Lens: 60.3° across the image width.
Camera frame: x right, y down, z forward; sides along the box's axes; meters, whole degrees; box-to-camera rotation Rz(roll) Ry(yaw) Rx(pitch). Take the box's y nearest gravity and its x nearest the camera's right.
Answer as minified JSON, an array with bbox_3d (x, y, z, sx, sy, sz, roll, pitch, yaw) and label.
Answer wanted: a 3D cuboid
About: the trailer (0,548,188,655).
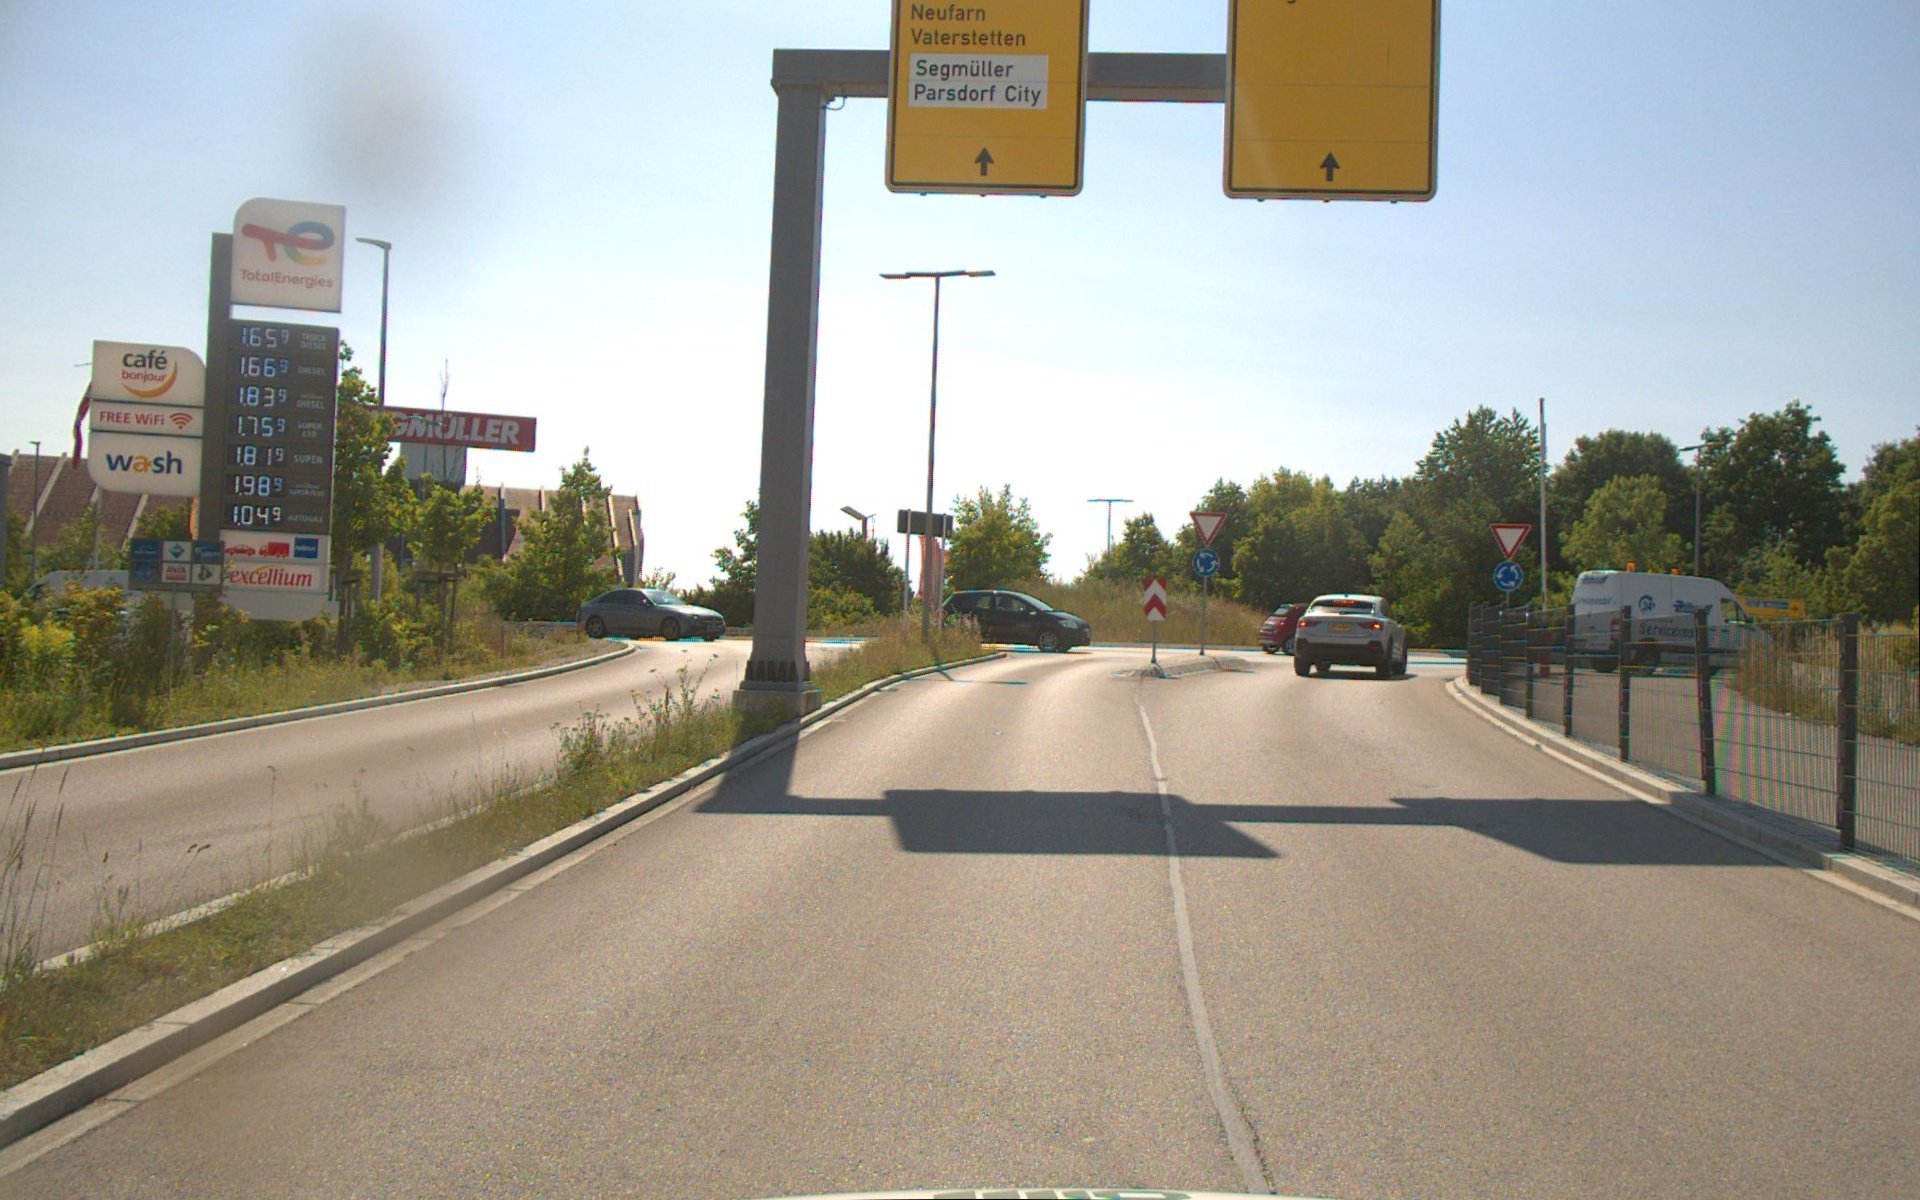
[{"bbox_3d":[-16.289,0.027,30.383,3.646,1.803,1.789,3,-1,-30],"label":"trailer"}]

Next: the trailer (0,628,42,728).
[{"bbox_3d":[-12.166,0.855,18.974,2.733,1.105,1.310,3,-1,-26],"label":"trailer"}]

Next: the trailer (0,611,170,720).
[{"bbox_3d":[-12.467,0.865,22.409,2.851,1.345,1.386,3,-1,-12],"label":"trailer"}]

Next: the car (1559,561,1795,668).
[{"bbox_3d":[19.549,0.404,45.110,6.080,2.599,2.079,3,-1,-20],"label":"car"}]

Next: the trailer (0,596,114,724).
[{"bbox_3d":[-12.490,0.702,20.642,3.130,1.509,1.541,3,-1,-17],"label":"trailer"}]

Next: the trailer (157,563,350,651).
[{"bbox_3d":[-15.185,0.147,35.565,3.646,1.803,1.789,1,0,-30],"label":"trailer"}]

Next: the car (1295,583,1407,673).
[{"bbox_3d":[7.854,0.543,32.986,1.803,1.624,4.326,1,0,18],"label":"car"}]

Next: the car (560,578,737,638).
[{"bbox_3d":[-8.860,0.224,46.998,4.768,1.477,1.996,2,0,30],"label":"car"}]

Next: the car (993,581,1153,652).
[{"bbox_3d":[2.937,0.422,42.643,3.864,1.646,1.820,2,0,11],"label":"car"}]

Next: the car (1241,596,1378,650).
[{"bbox_3d":[10.477,0.690,49.553,3.754,1.430,1.614,3,-1,-24],"label":"car"}]

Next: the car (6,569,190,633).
[{"bbox_3d":[-34.691,0.051,66.692,6.133,2.273,2.037,3,-1,-6],"label":"car"}]

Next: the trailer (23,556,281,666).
[{"bbox_3d":[-13.404,0.191,27.469,3.646,1.477,1.691,6,-2,-30],"label":"trailer"}]
